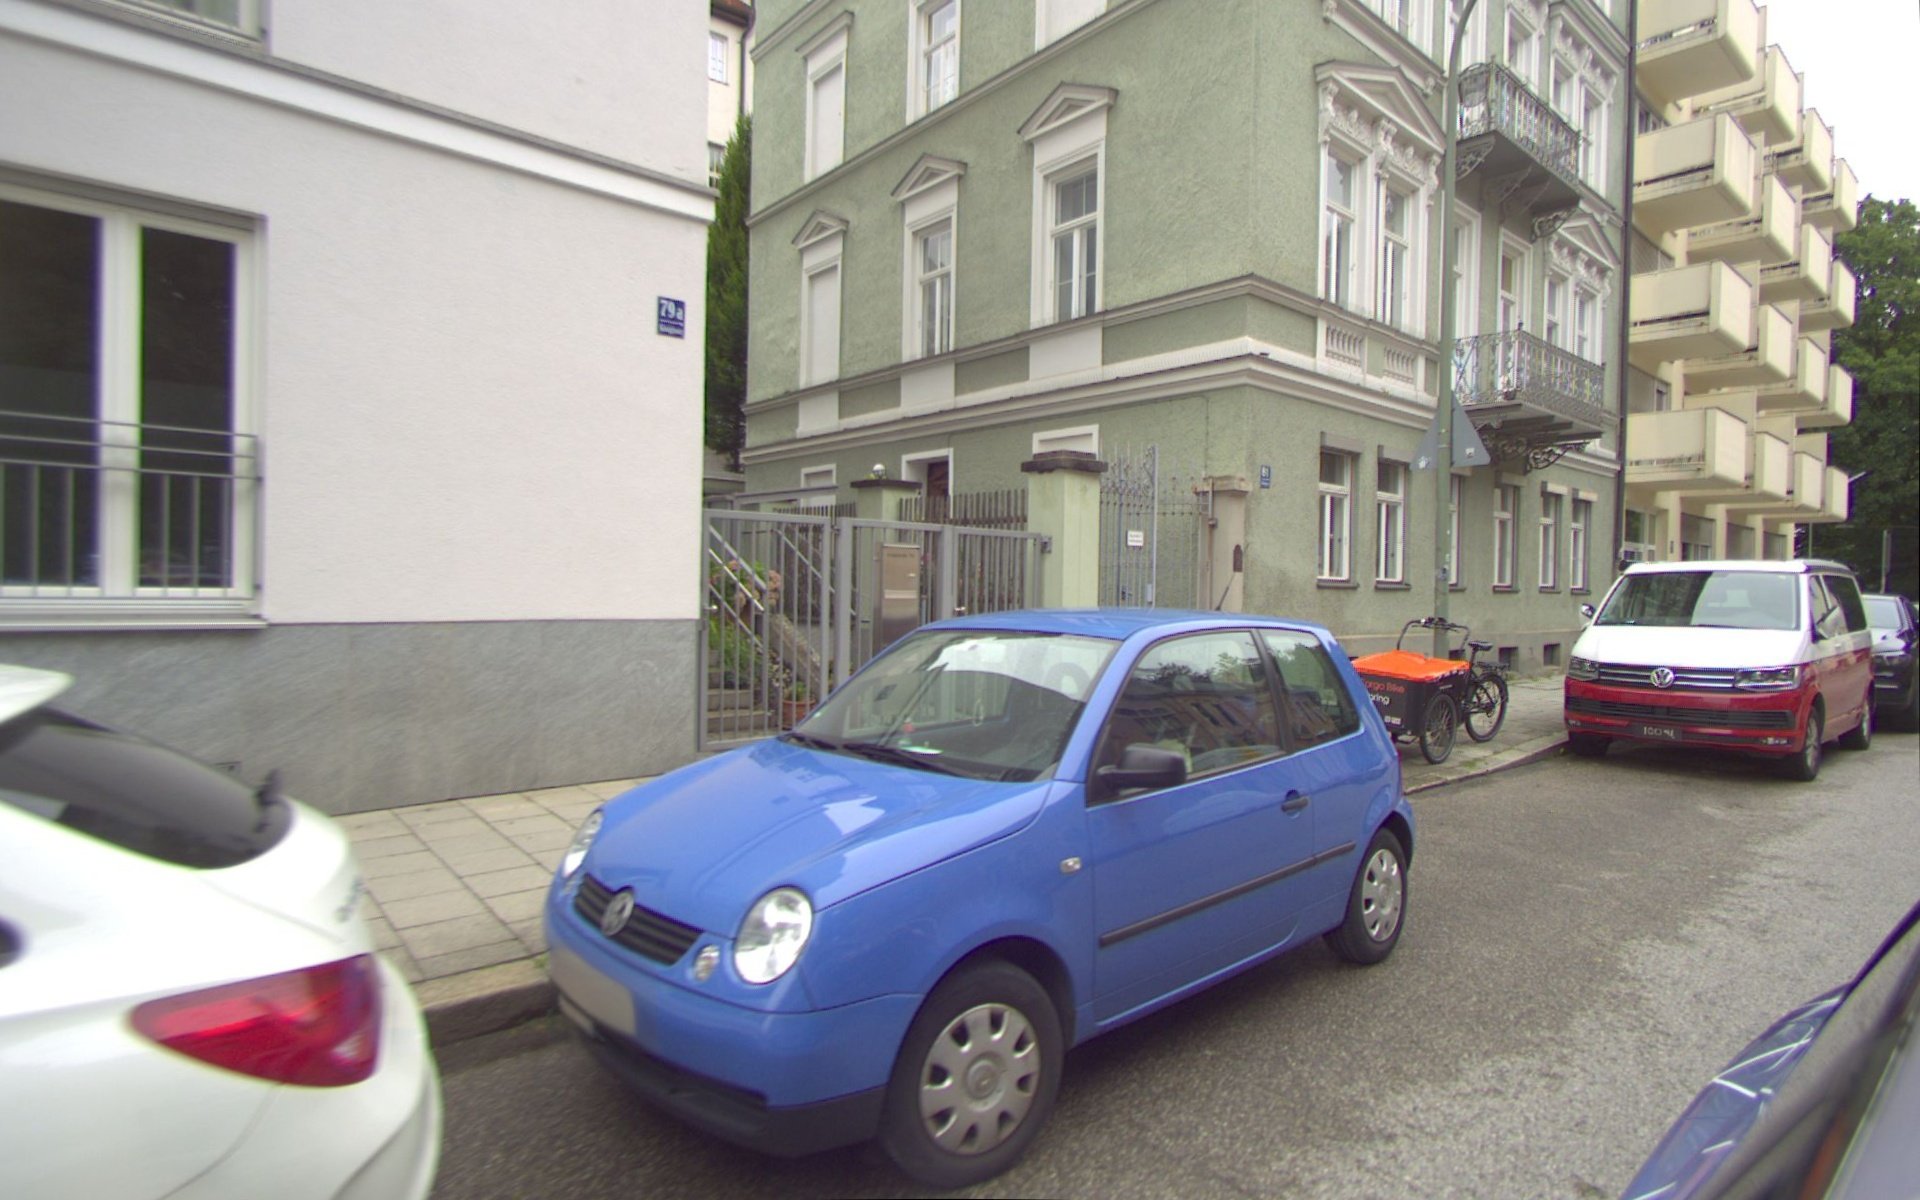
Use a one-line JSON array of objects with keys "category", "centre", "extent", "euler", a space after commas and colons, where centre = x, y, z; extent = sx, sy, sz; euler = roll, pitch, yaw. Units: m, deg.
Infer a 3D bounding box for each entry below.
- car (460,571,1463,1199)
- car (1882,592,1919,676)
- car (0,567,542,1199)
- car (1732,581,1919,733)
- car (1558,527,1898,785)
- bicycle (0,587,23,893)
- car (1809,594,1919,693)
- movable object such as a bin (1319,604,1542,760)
[{"category": "car", "centre": [0.314, 0.681, 3.863], "extent": [3.656, 1.441, 1.717], "euler": [1, -1, -43]}, {"category": "car", "centre": [20.711, 0.698, 21.107], "extent": [4.189, 1.637, 1.770], "euler": [1, 0, -42]}, {"category": "car", "centre": [-2.794, 0.699, 0.742], "extent": [4.303, 1.486, 1.665], "euler": [0, 0, -44]}, {"category": "car", "centre": [12.194, 0.655, 13.715], "extent": [4.615, 1.732, 1.859], "euler": [0, 0, -41]}, {"category": "car", "centre": [7.978, 0.461, 10.322], "extent": [4.699, 2.057, 1.857], "euler": [1, 0, -41]}, {"category": "bicycle", "centre": [-4.712, 0.538, 3.624], "extent": [1.939, 1.187, 0.803], "euler": [1, 0, -41]}, {"category": "car", "centre": [16.184, 0.703, 17.445], "extent": [4.261, 1.485, 1.752], "euler": [1, 2, -42]}, {"category": "movable object such as a bin", "centre": [4.371, 0.678, 9.340], "extent": [2.125, 1.207, 1.023], "euler": [1, 3, -40]}]
